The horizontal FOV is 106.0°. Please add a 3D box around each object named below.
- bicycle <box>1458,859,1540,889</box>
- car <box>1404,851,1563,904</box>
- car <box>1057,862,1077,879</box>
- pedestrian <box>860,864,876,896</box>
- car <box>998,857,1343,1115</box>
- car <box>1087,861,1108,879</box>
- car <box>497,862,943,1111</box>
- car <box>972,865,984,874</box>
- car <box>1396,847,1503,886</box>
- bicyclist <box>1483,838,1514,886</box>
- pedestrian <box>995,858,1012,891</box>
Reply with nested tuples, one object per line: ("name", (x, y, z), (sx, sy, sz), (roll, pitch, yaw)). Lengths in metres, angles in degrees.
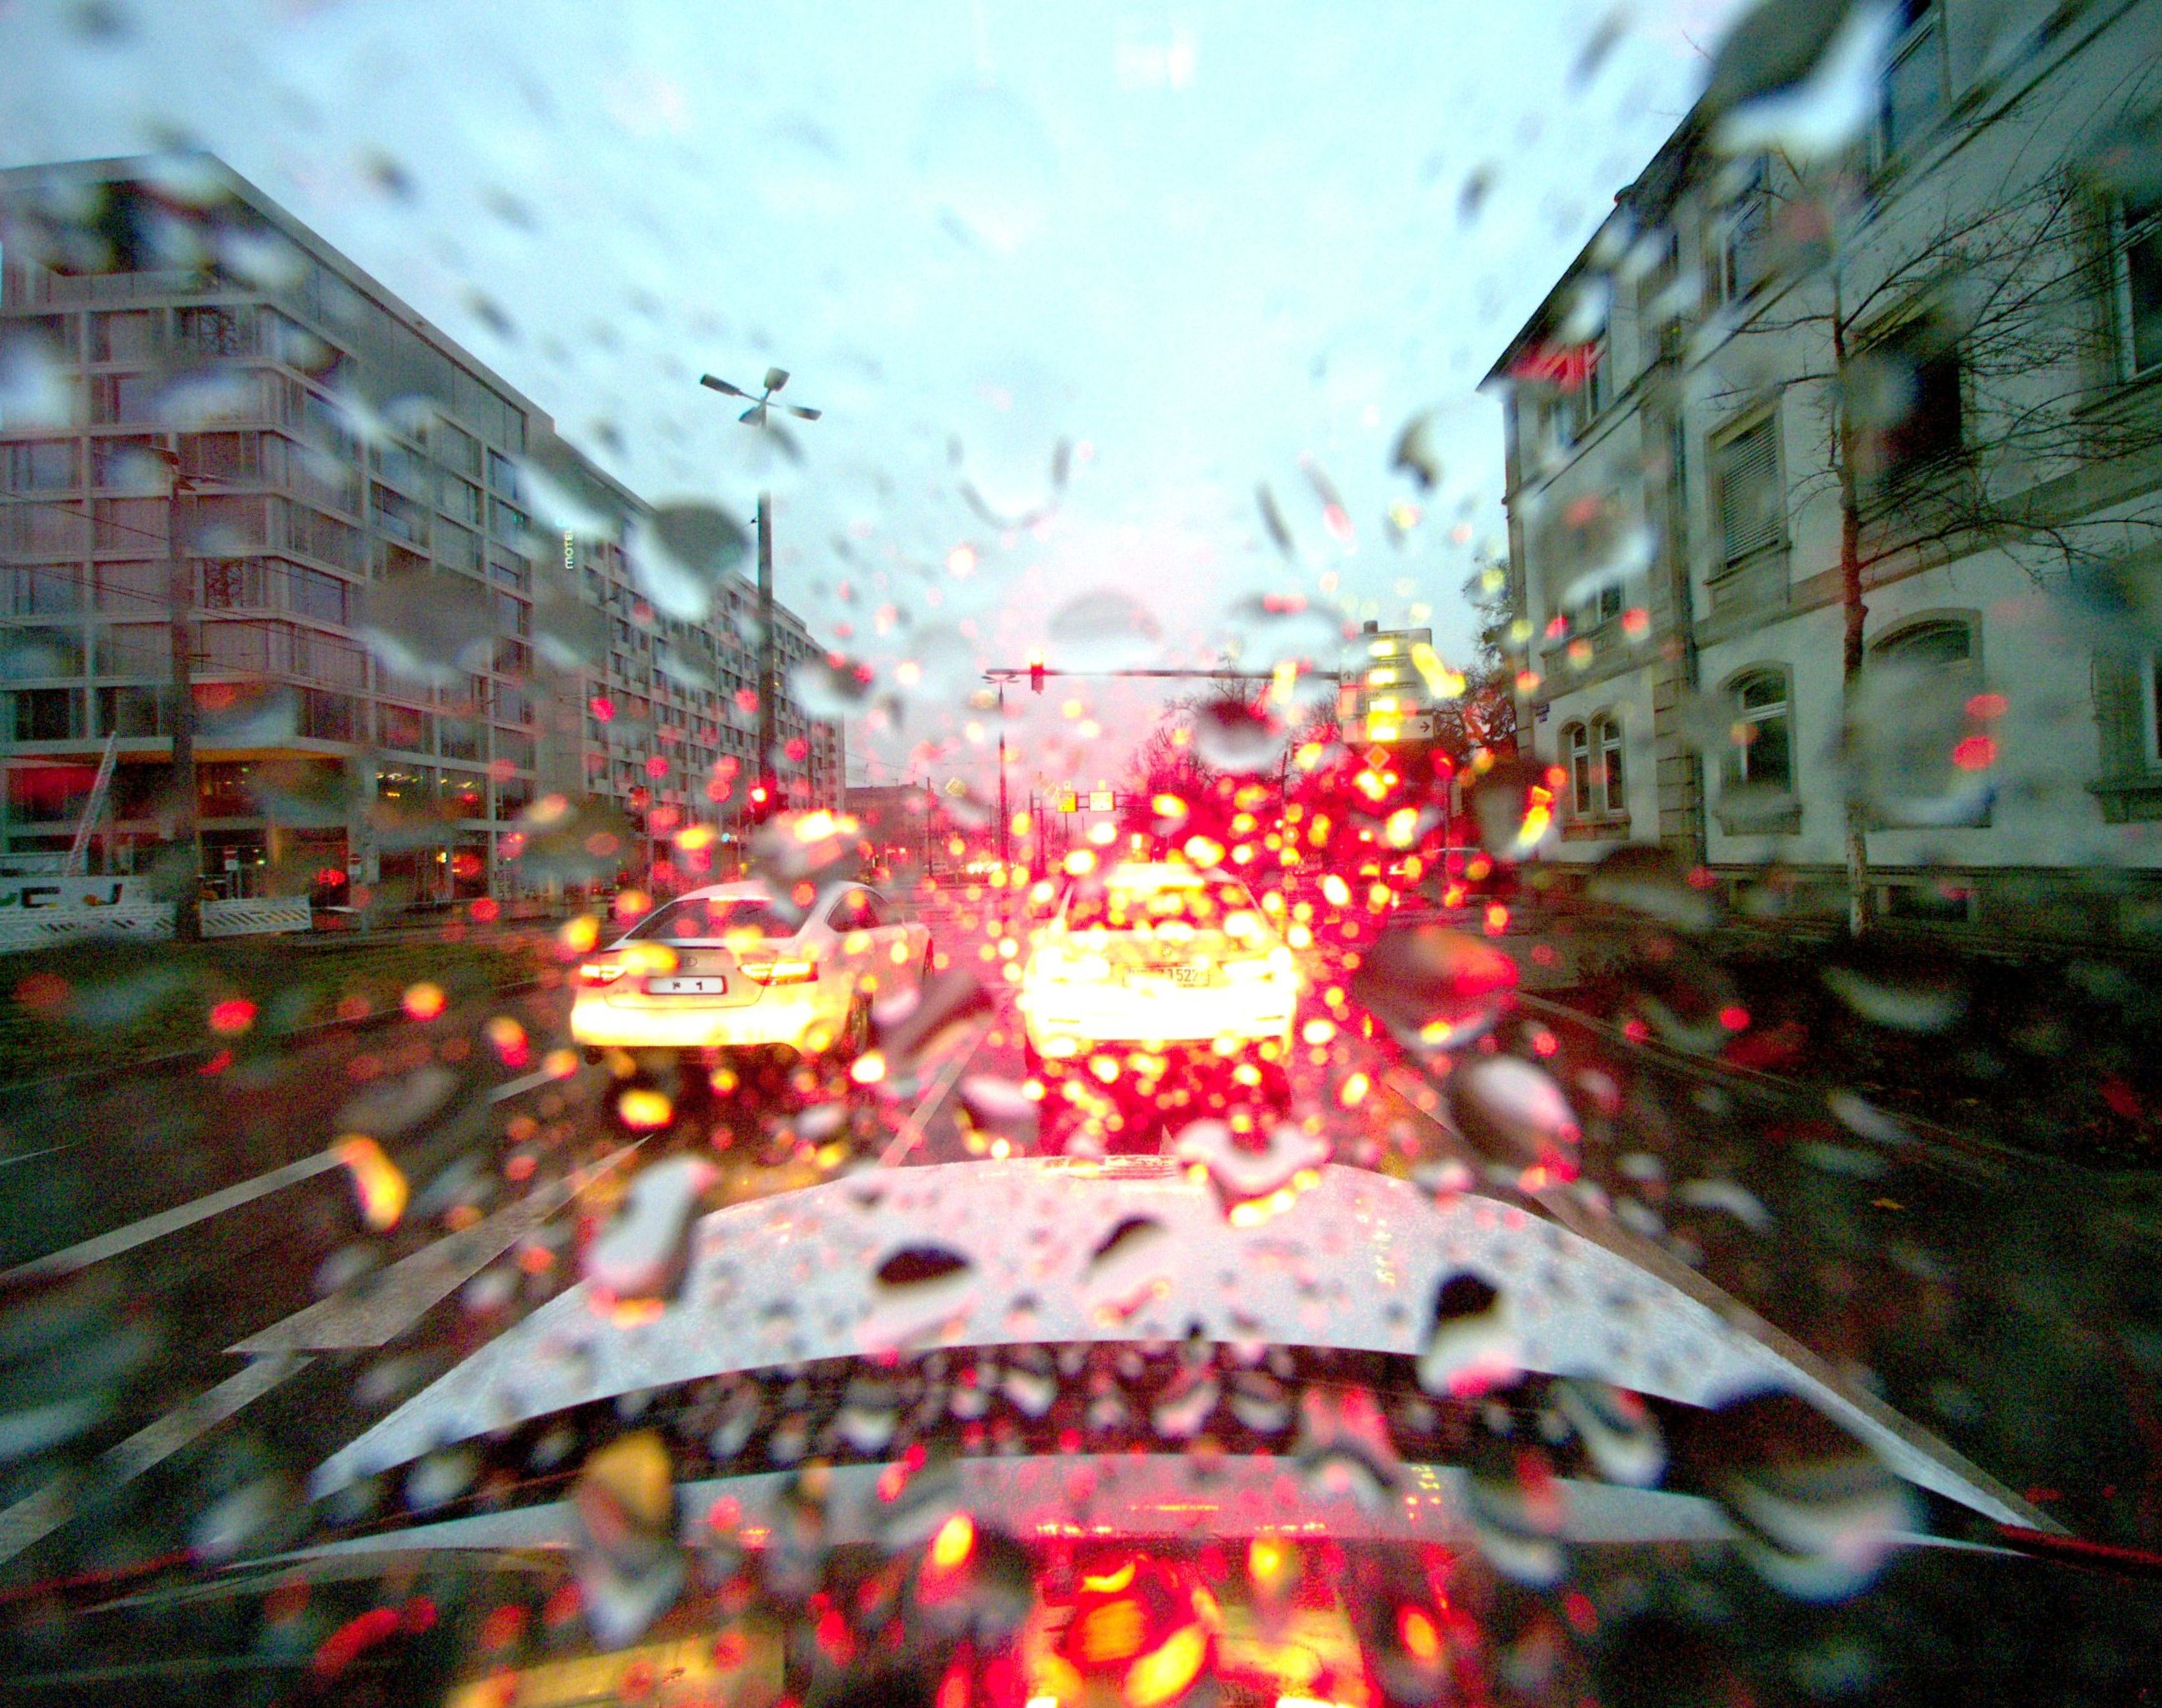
("bicycle", (15.669, 0.739, 30.604), (2.644, 1.089, 0.819), (0, -1, 21))
("car", (12.359, 0.715, 25.286), (4.275, 1.530, 1.772), (0, -1, 22))
("car", (-1.351, 1.574, 78.748), (1.836, 1.609, 3.945), (0, -1, 1))
("pedestrian", (-11.714, 1.427, 44.775), (0.791, 1.712, 0.809), (0, -1, -13))
("car", (0.525, 0.771, 6.928), (1.987, 1.456, 4.367), (-1, 0, 0))
("car", (1.494, 1.476, 73.769), (1.836, 1.609, 3.945), (0, -1, 1))
("car", (-2.597, 0.839, 7.221), (1.987, 1.456, 4.367), (-1, 0, 0))
("car", (-18.003, 2.684, 142.455), (1.669, 1.508, 3.697), (0, -1, 1))
("car", (15.189, 0.510, 33.711), (3.920, 1.554, 1.759), (0, -1, 24))
("bicyclist", (15.680, 0.309, 30.603), (0.964, 1.759, 0.817), (0, -1, 21))
("pedestrian", (-4.462, 1.163, 46.807), (0.902, 1.856, 0.810), (0, -1, -8))
